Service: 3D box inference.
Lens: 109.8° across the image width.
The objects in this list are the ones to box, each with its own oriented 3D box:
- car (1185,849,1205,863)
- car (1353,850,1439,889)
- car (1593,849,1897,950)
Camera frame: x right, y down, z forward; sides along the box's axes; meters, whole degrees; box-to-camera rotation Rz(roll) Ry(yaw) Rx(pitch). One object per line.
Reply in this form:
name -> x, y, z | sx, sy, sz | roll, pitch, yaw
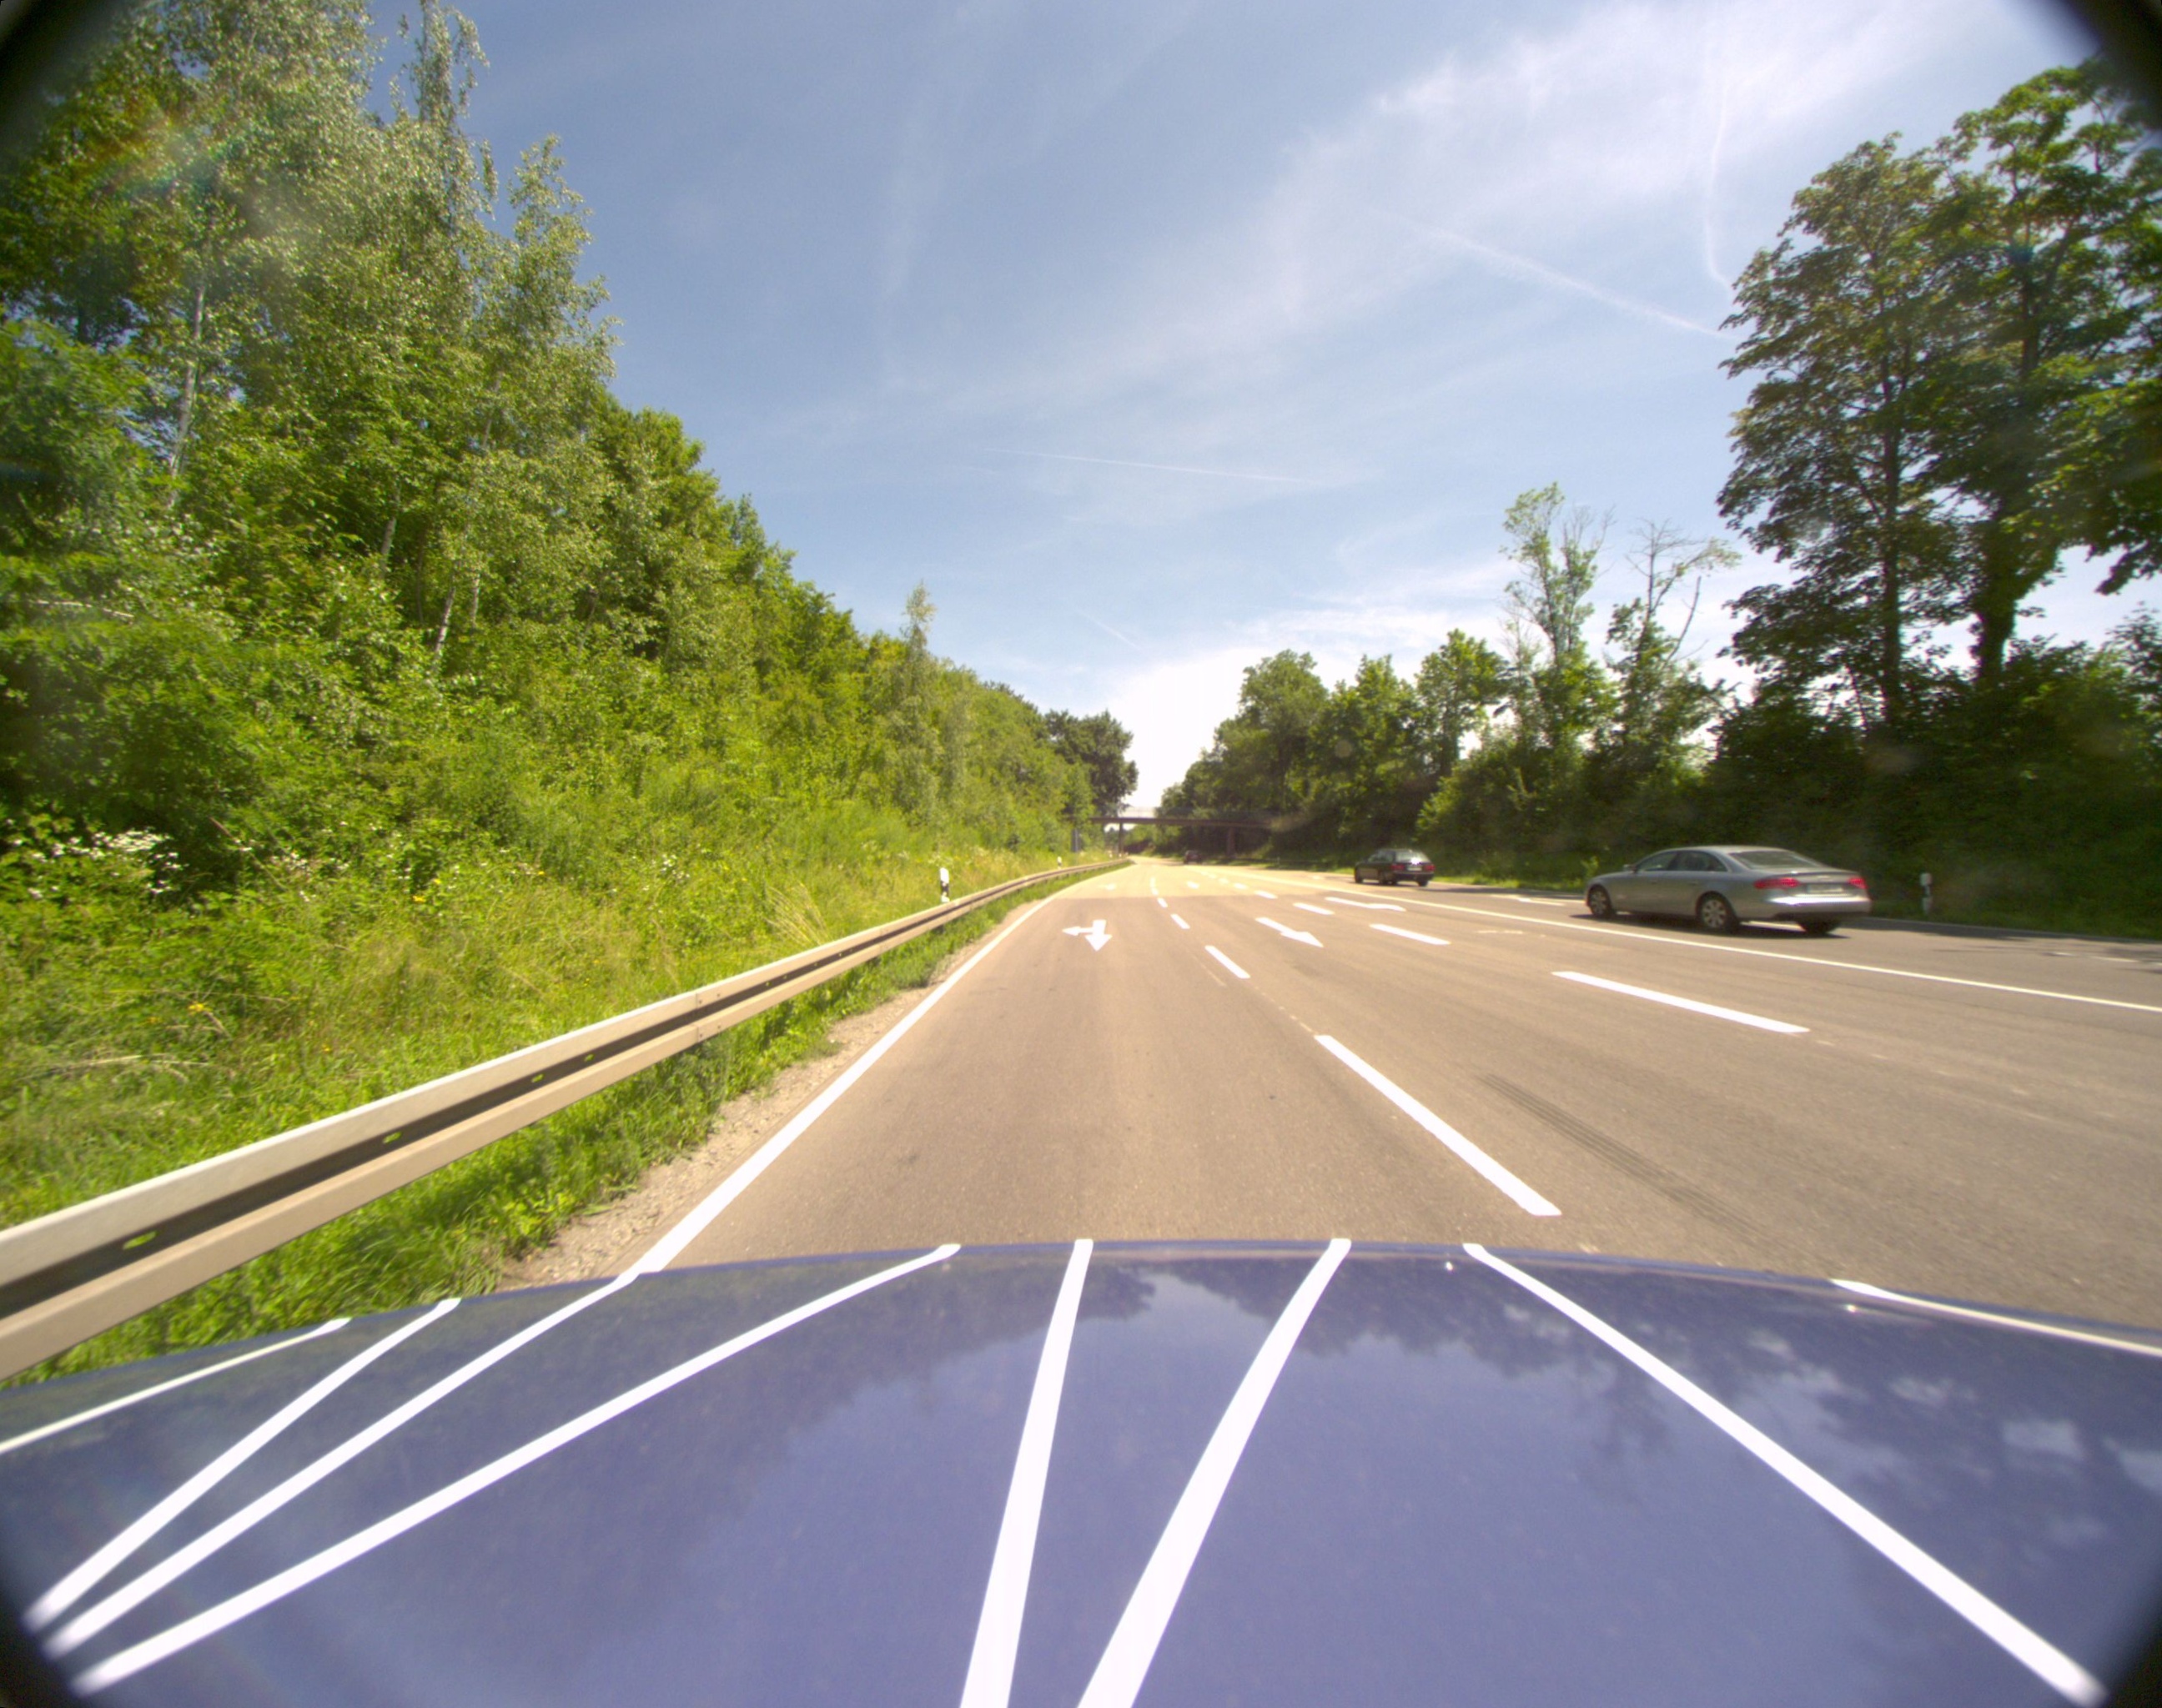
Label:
car -> 13.024, 0.184, 86.896 | 1.907, 1.500, 3.765 | -1, 0, 5
car -> 12.443, 0.569, 30.257 | 1.771, 1.378, 3.999 | -2, 1, 0
car -> 11.060, 0.650, 13.106 | 1.771, 1.378, 3.999 | -2, 1, 0
